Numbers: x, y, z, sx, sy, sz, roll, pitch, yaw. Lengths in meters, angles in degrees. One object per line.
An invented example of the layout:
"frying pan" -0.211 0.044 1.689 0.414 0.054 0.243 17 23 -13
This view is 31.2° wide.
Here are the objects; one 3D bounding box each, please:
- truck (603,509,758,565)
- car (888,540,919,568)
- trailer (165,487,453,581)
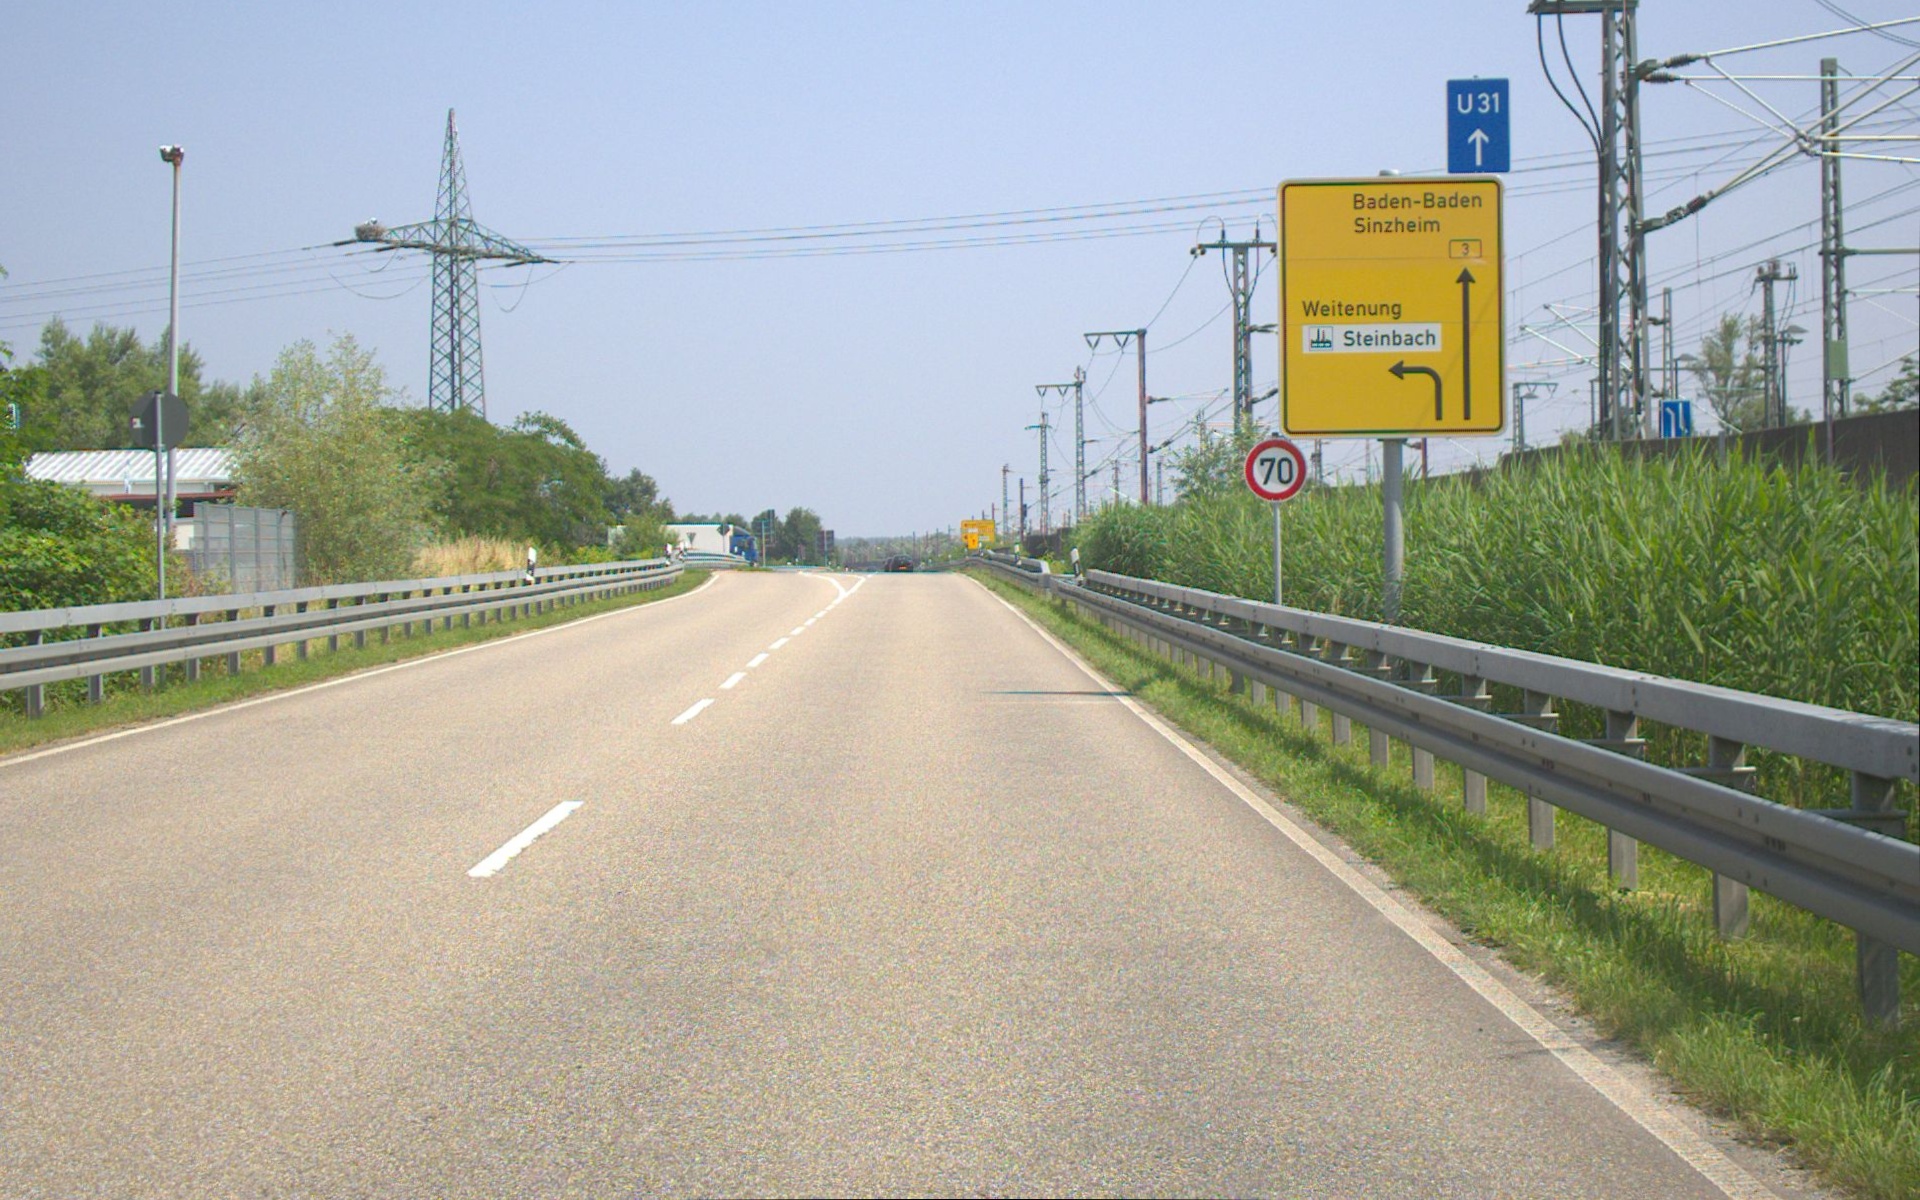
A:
"truck" -18.994 -4.283 234.061 10.412 3.619 2.845 1 1 -2
"car" -4.176 -3.426 253.742 1.993 2.007 4.001 0 1 -4
"trailer" -13.158 -1.341 69.796 5.386 1.842 2.544 0 1 -1
